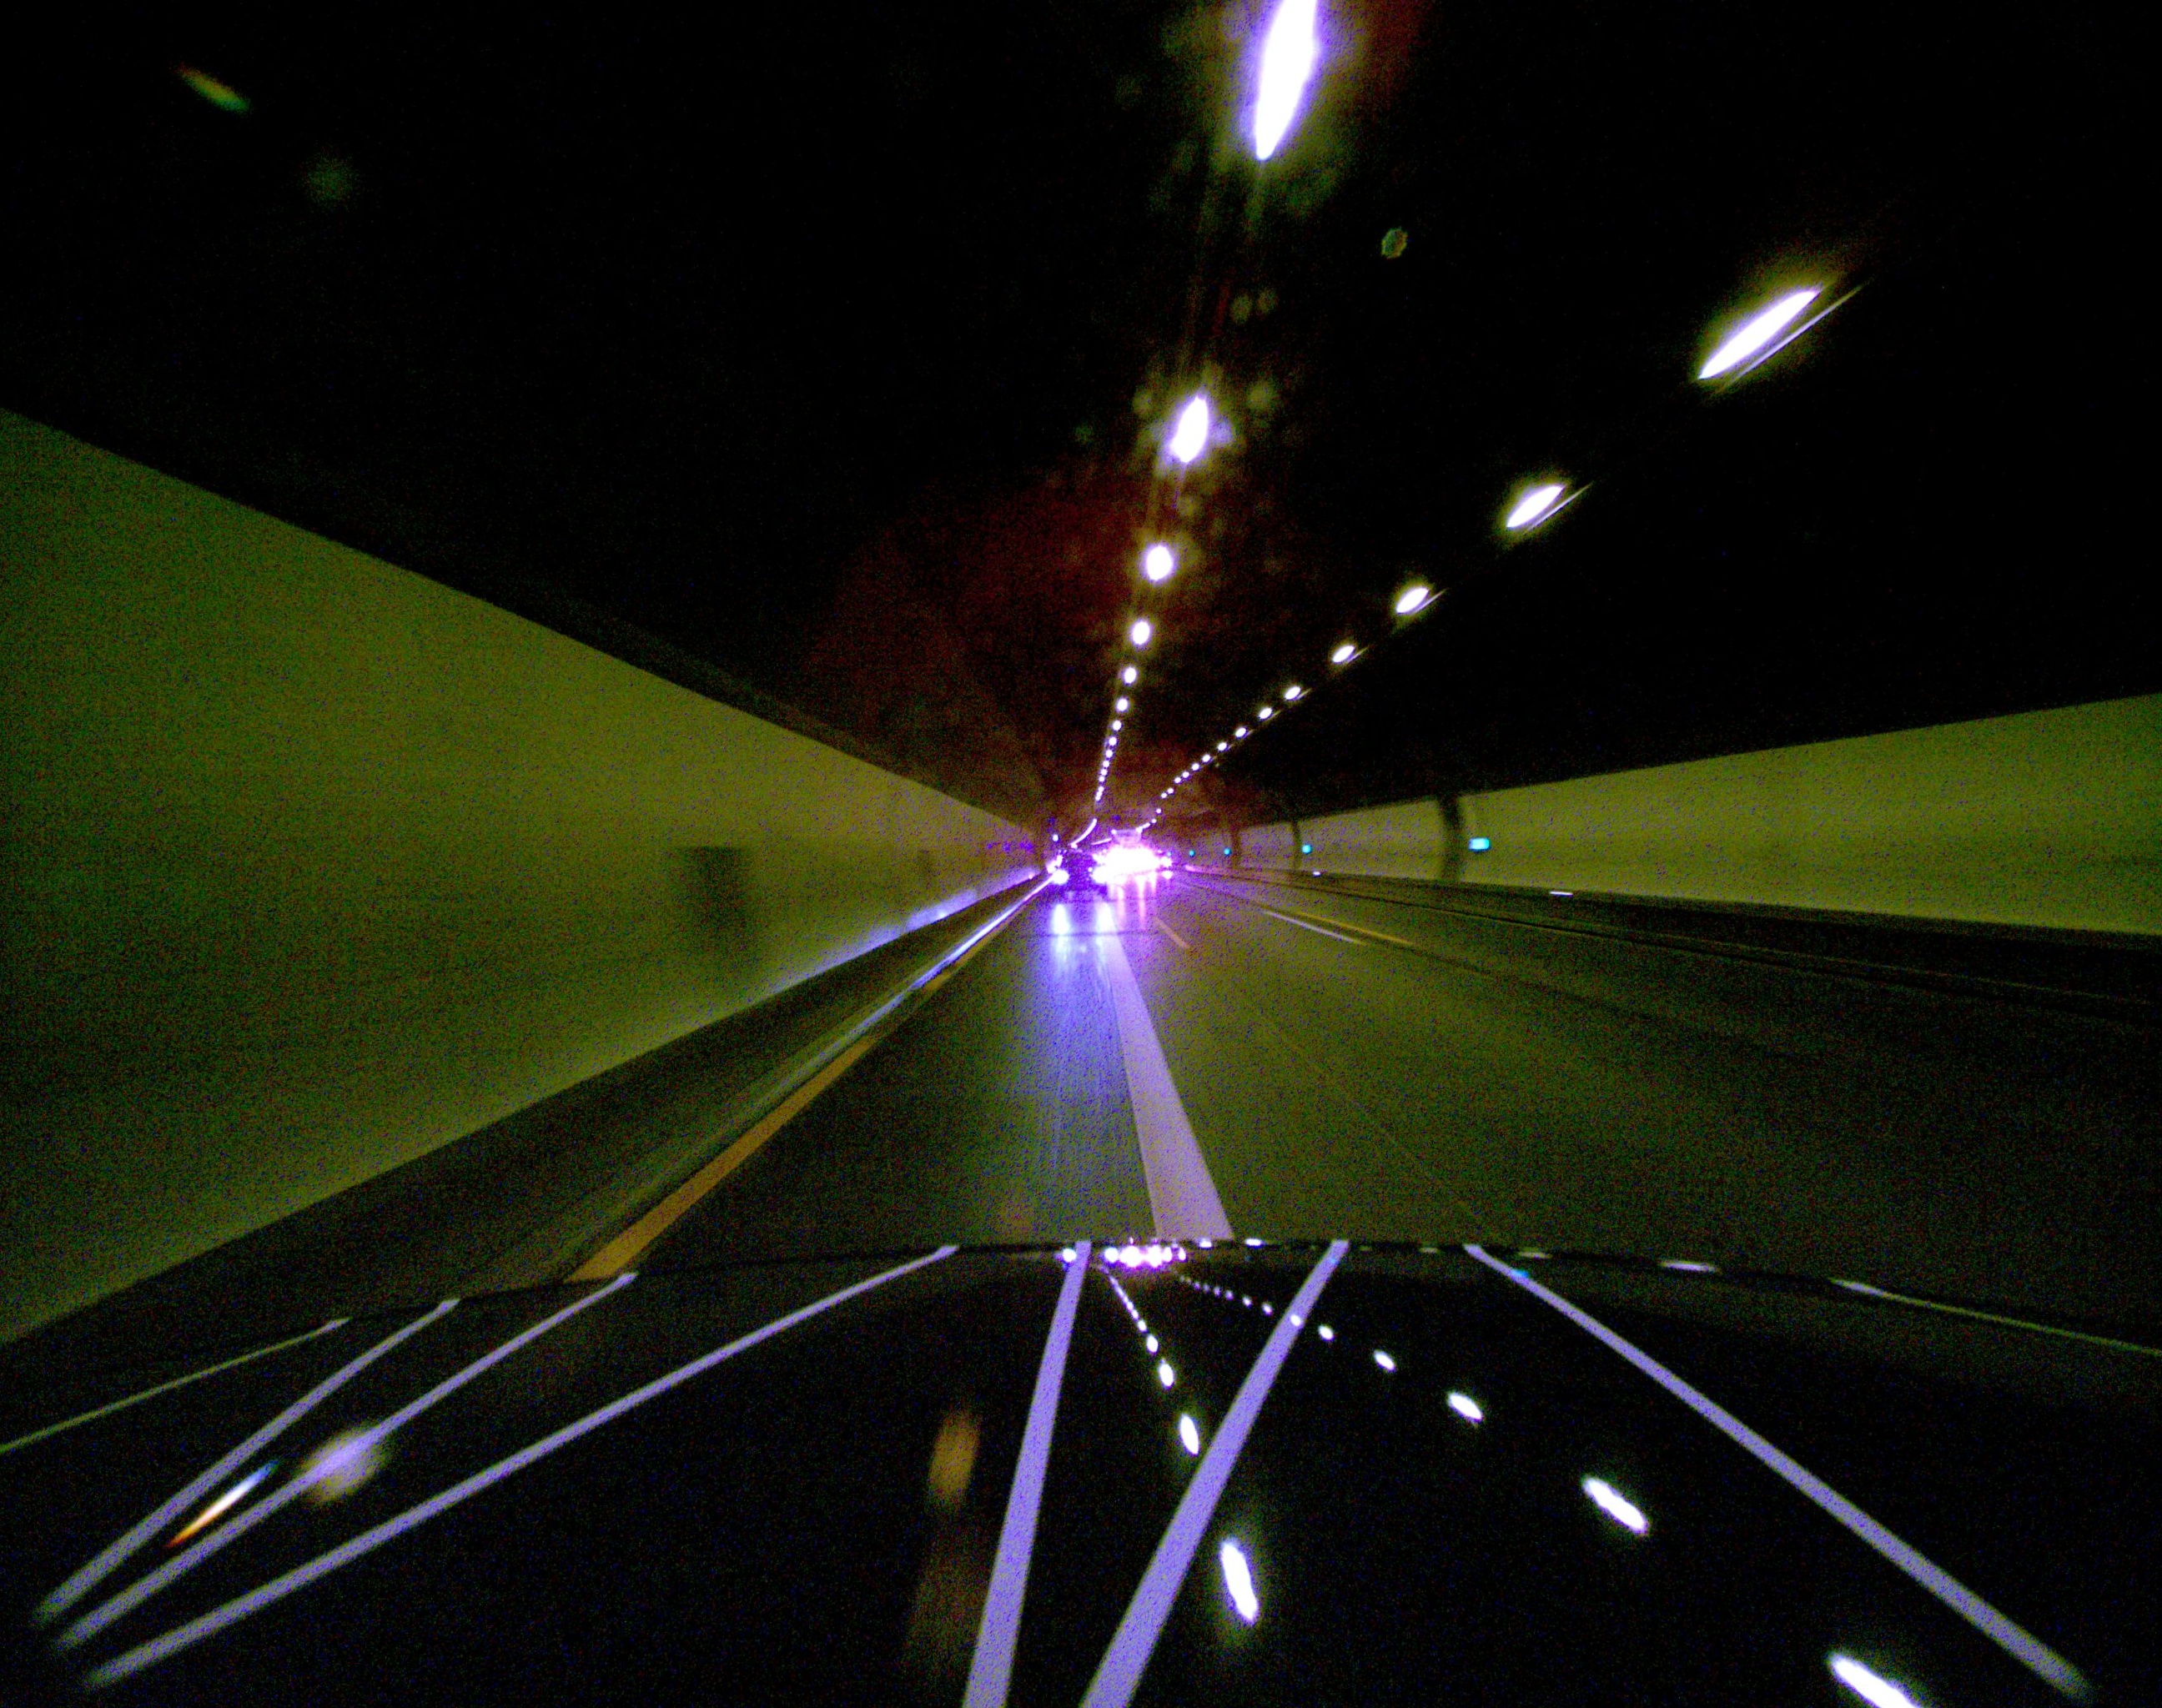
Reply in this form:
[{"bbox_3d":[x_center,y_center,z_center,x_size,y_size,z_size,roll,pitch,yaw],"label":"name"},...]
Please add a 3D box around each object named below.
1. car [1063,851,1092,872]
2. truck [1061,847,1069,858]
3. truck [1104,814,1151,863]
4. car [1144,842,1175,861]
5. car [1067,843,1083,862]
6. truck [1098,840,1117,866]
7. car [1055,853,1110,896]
[{"bbox_3d":[-0.316,0.550,59.209,1.999,1.531,4.741,0,0,-3],"label":"car"},{"bbox_3d":[-5.601,-0.497,266.136,2.208,3.449,11.766,1,0,1],"label":"truck"},{"bbox_3d":[3.306,-1.019,55.747,2.534,3.314,7.714,0,0,-3],"label":"truck"},{"bbox_3d":[6.329,-0.200,61.746,1.998,1.531,4.851,0,0,1],"label":"car"},{"bbox_3d":[-0.868,-0.167,111.020,1.999,2.710,6.272,0,0,-3],"label":"car"},{"bbox_3d":[3.254,-0.162,95.369,2.162,3.098,6.030,0,0,0],"label":"truck"},{"bbox_3d":[-0.030,0.720,28.699,1.826,1.469,4.520,0,0,-3],"label":"car"}]
